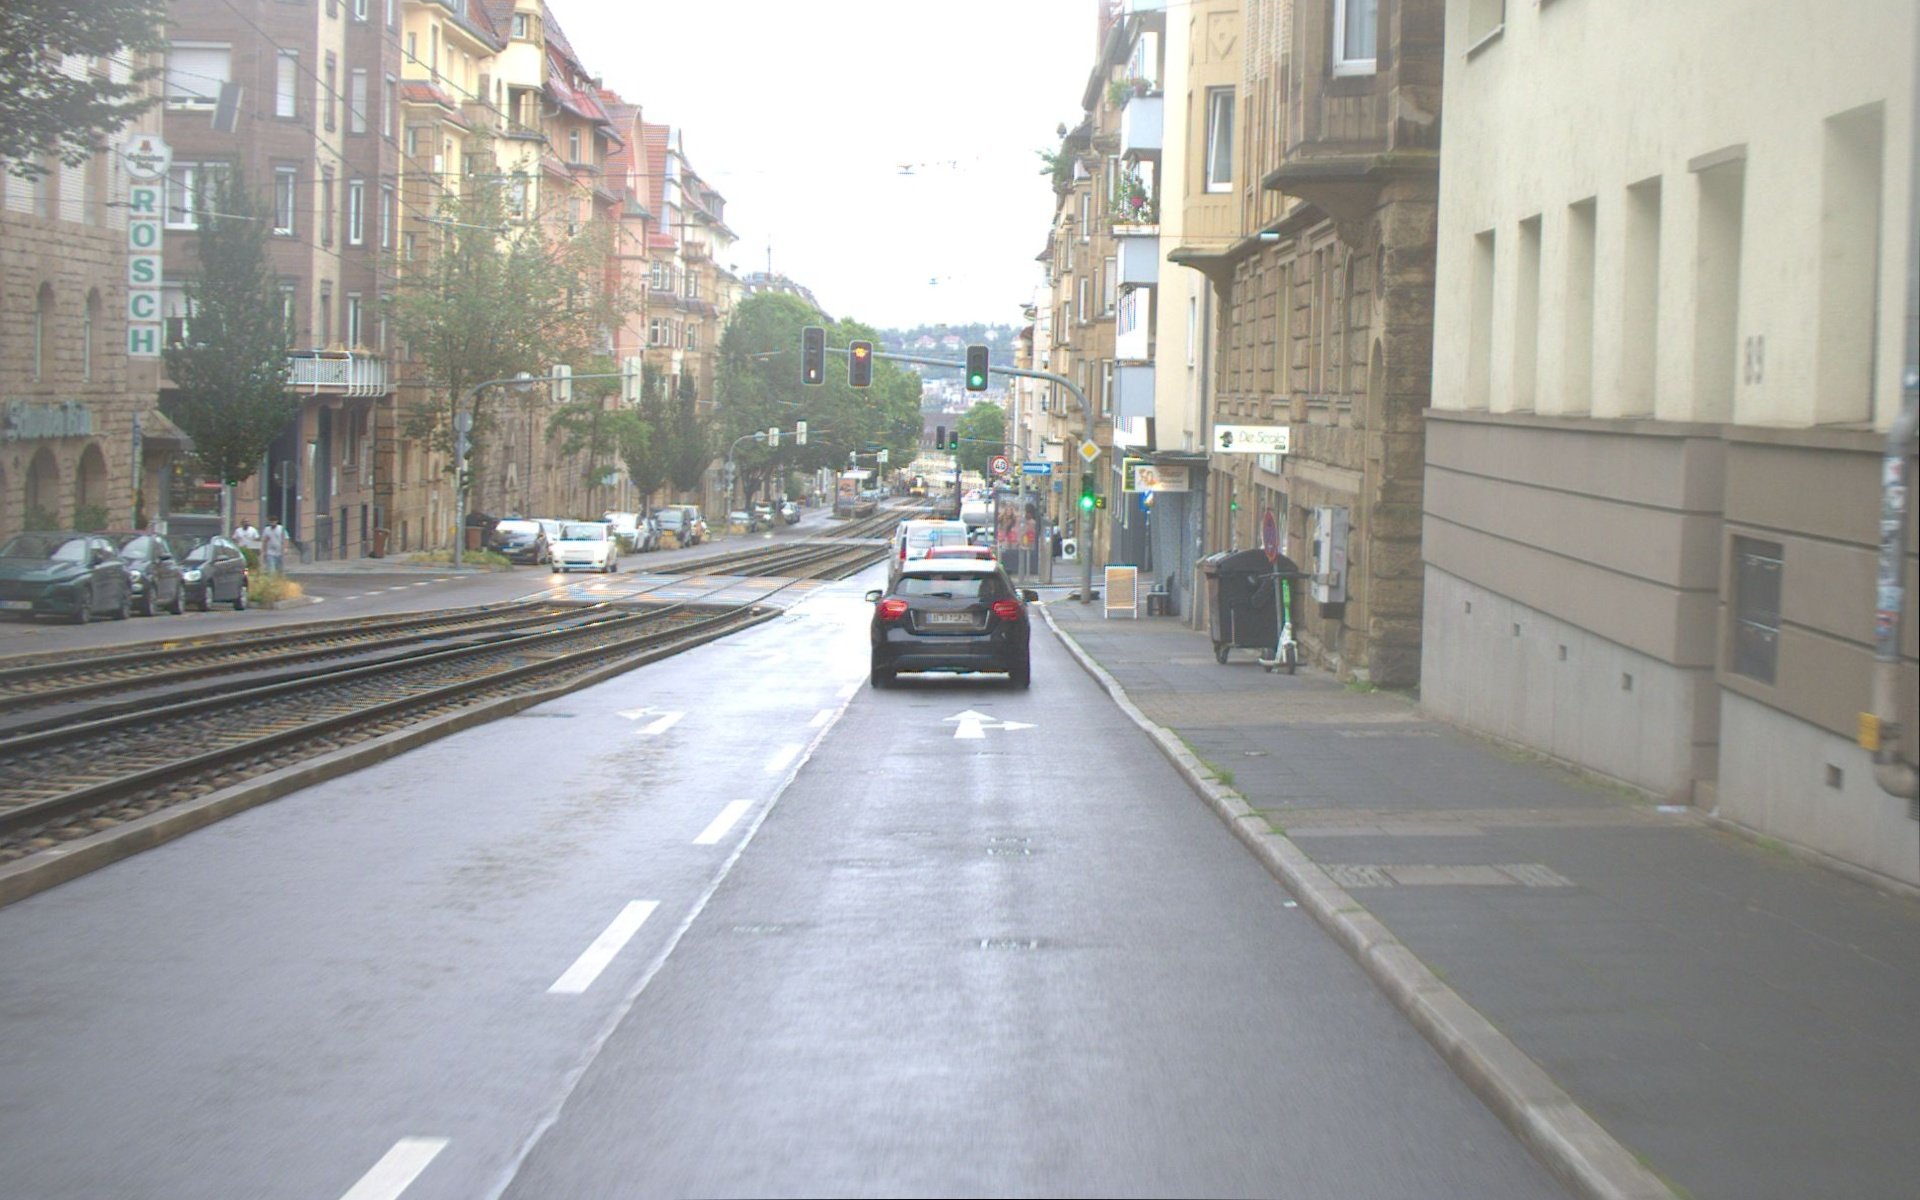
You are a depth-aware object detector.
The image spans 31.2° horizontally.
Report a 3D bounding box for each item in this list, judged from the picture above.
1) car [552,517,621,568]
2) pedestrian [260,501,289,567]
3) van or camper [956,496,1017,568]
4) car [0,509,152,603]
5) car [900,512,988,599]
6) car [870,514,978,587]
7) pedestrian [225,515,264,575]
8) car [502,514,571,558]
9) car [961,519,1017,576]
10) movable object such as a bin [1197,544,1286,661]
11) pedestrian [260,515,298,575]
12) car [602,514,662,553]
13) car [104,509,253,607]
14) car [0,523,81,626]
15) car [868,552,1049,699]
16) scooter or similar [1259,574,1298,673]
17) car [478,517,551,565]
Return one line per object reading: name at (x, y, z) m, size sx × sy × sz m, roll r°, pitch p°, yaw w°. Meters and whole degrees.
car at (-11.245, -1.737, 103.671) m, size 1.627 × 1.477 × 3.581 m, roll 1°, pitch 1°, yaw 1°
pedestrian at (-16.372, -1.566, 82.122) m, size 0.517 × 1.565 × 0.643 m, roll 1°, pitch 0°, yaw 2°
van or camper at (0.963, -2.436, 122.689) m, size 2.064 × 2.460 × 6.119 m, roll 1°, pitch 1°, yaw 1°
car at (-14.509, -0.706, 55.772) m, size 1.801 × 1.450 × 4.431 m, roll 1°, pitch 1°, yaw -1°
car at (-0.271, -0.864, 64.575) m, size 1.536 × 1.505 × 4.000 m, roll 2°, pitch 2°, yaw 1°
car at (-0.907, -1.229, 84.352) m, size 1.921 × 1.649 × 4.001 m, roll 3°, pitch 1°, yaw -10°
pedestrian at (-17.047, -1.318, 81.922) m, size 0.754 × 1.417 × 0.645 m, roll 1°, pitch 1°, yaw 2°
car at (-14.367, -2.170, 116.733) m, size 1.667 × 1.421 × 4.262 m, roll 2°, pitch 1°, yaw 2°
car at (0.970, -1.760, 114.312) m, size 1.768 × 1.802 × 4.482 m, roll 2°, pitch 1°, yaw 0°
movable object such as a bin at (3.580, 0.018, 43.765) m, size 1.009 × 1.446 × 1.393 m, roll -1°, pitch 1°, yaw 1°
pedestrian at (-16.247, -1.307, 82.043) m, size 0.754 × 1.417 × 0.645 m, roll 1°, pitch 1°, yaw 2°
car at (-13.486, -2.744, 141.594) m, size 1.785 × 1.584 × 4.351 m, roll 0°, pitch 2°, yaw 4°
car at (-14.857, -0.801, 65.548) m, size 1.886 × 1.722 × 3.740 m, roll 3°, pitch 1°, yaw 1°
car at (-14.682, -0.415, 52.000) m, size 1.807 × 1.493 × 3.526 m, roll 1°, pitch 1°, yaw 0°
car at (-0.038, 0.256, 39.194) m, size 1.946 × 1.559 × 3.643 m, roll 1°, pitch 1°, yaw -1°
scooter or similar at (3.625, 0.270, 39.173) m, size 0.209 × 1.108 × 0.892 m, roll -1°, pitch 0°, yaw -9°
car at (-14.424, -1.920, 111.464) m, size 1.765 × 1.481 × 4.000 m, roll 1°, pitch 1°, yaw 1°
